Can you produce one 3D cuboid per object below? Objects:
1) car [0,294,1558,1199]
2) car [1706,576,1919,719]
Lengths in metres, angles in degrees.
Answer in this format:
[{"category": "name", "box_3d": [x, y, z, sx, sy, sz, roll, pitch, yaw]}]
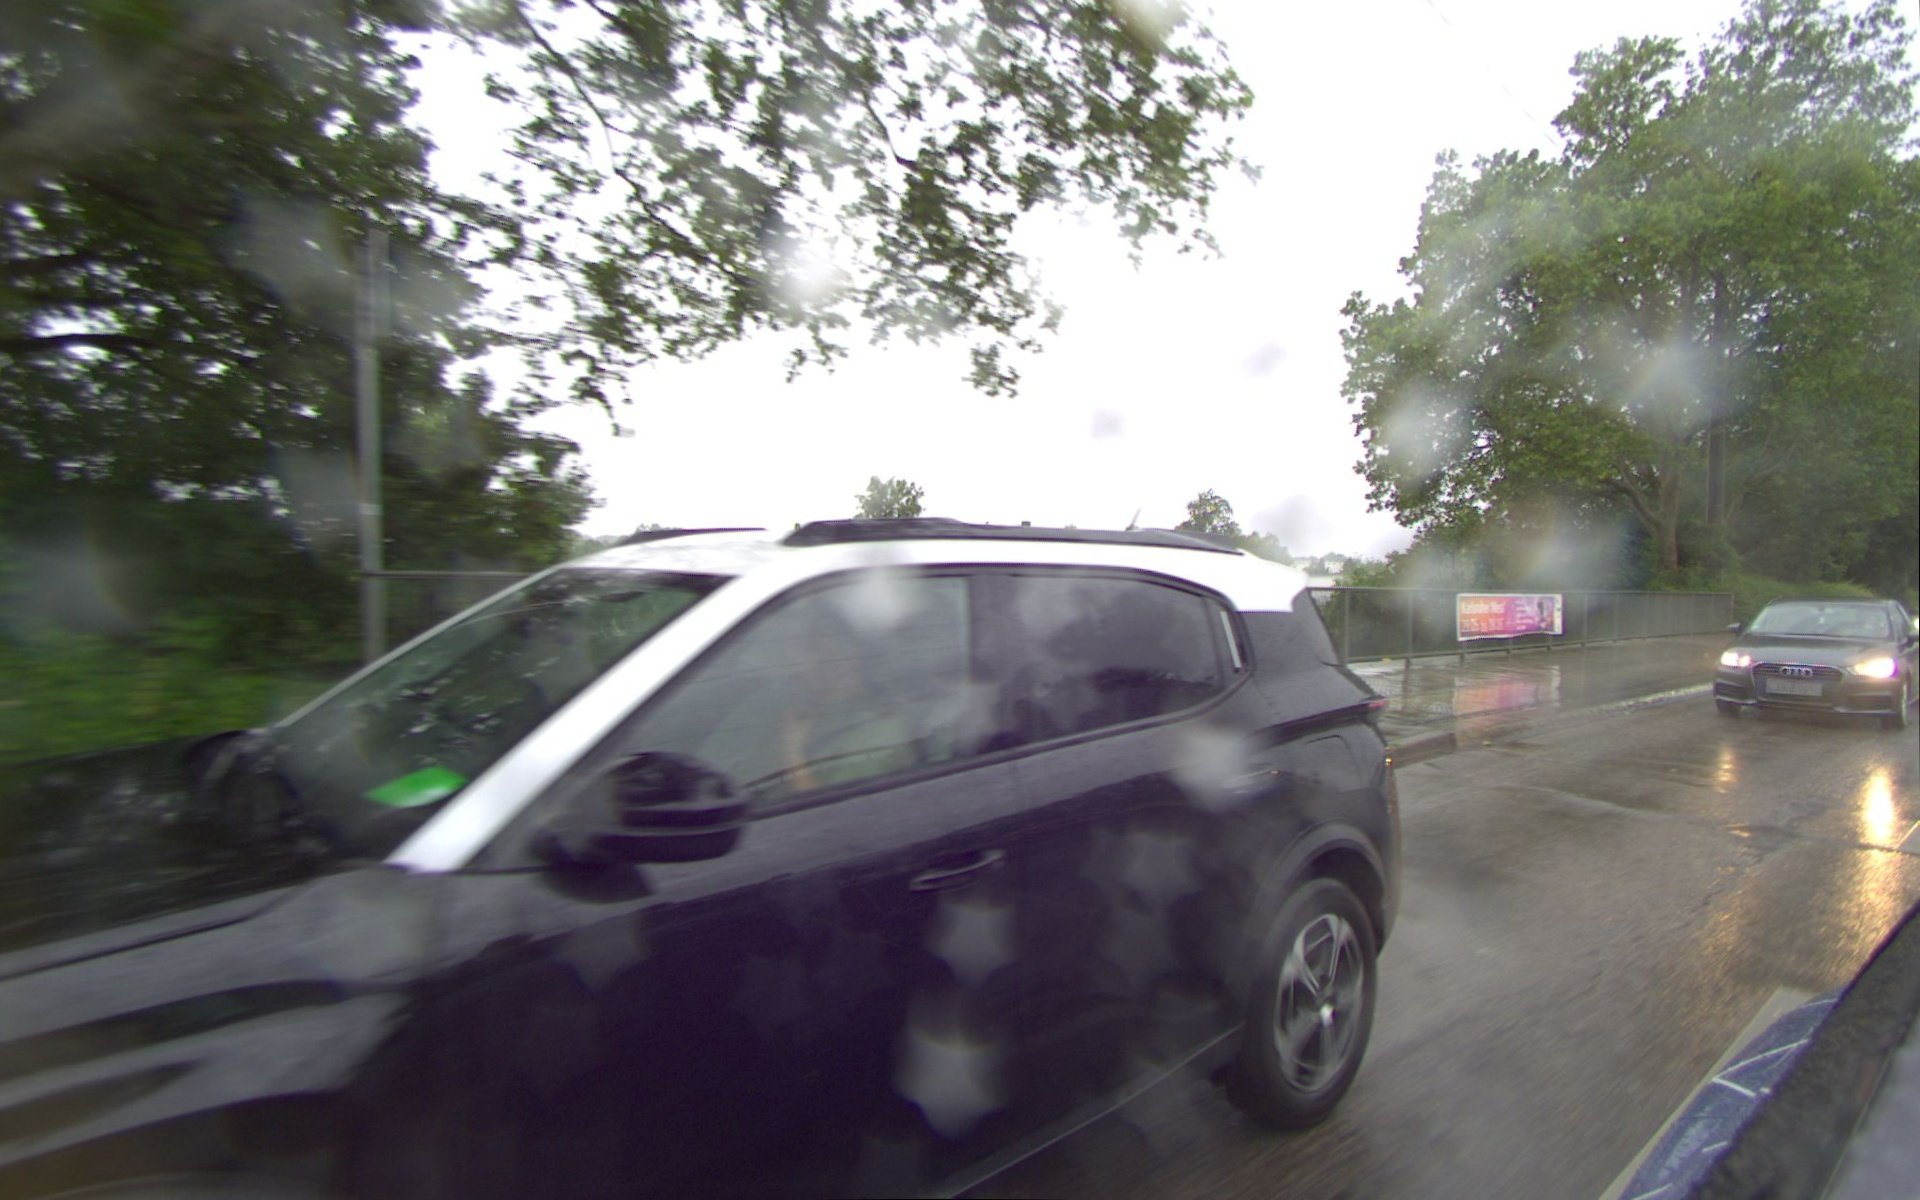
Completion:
[{"category": "car", "box_3d": [-0.192, 0.545, 2.799, 4.680, 1.724, 1.796, -1, 0, -41]}, {"category": "car", "box_3d": [10.576, 0.442, 12.156, 3.930, 1.445, 1.783, -1, 1, -41]}]
